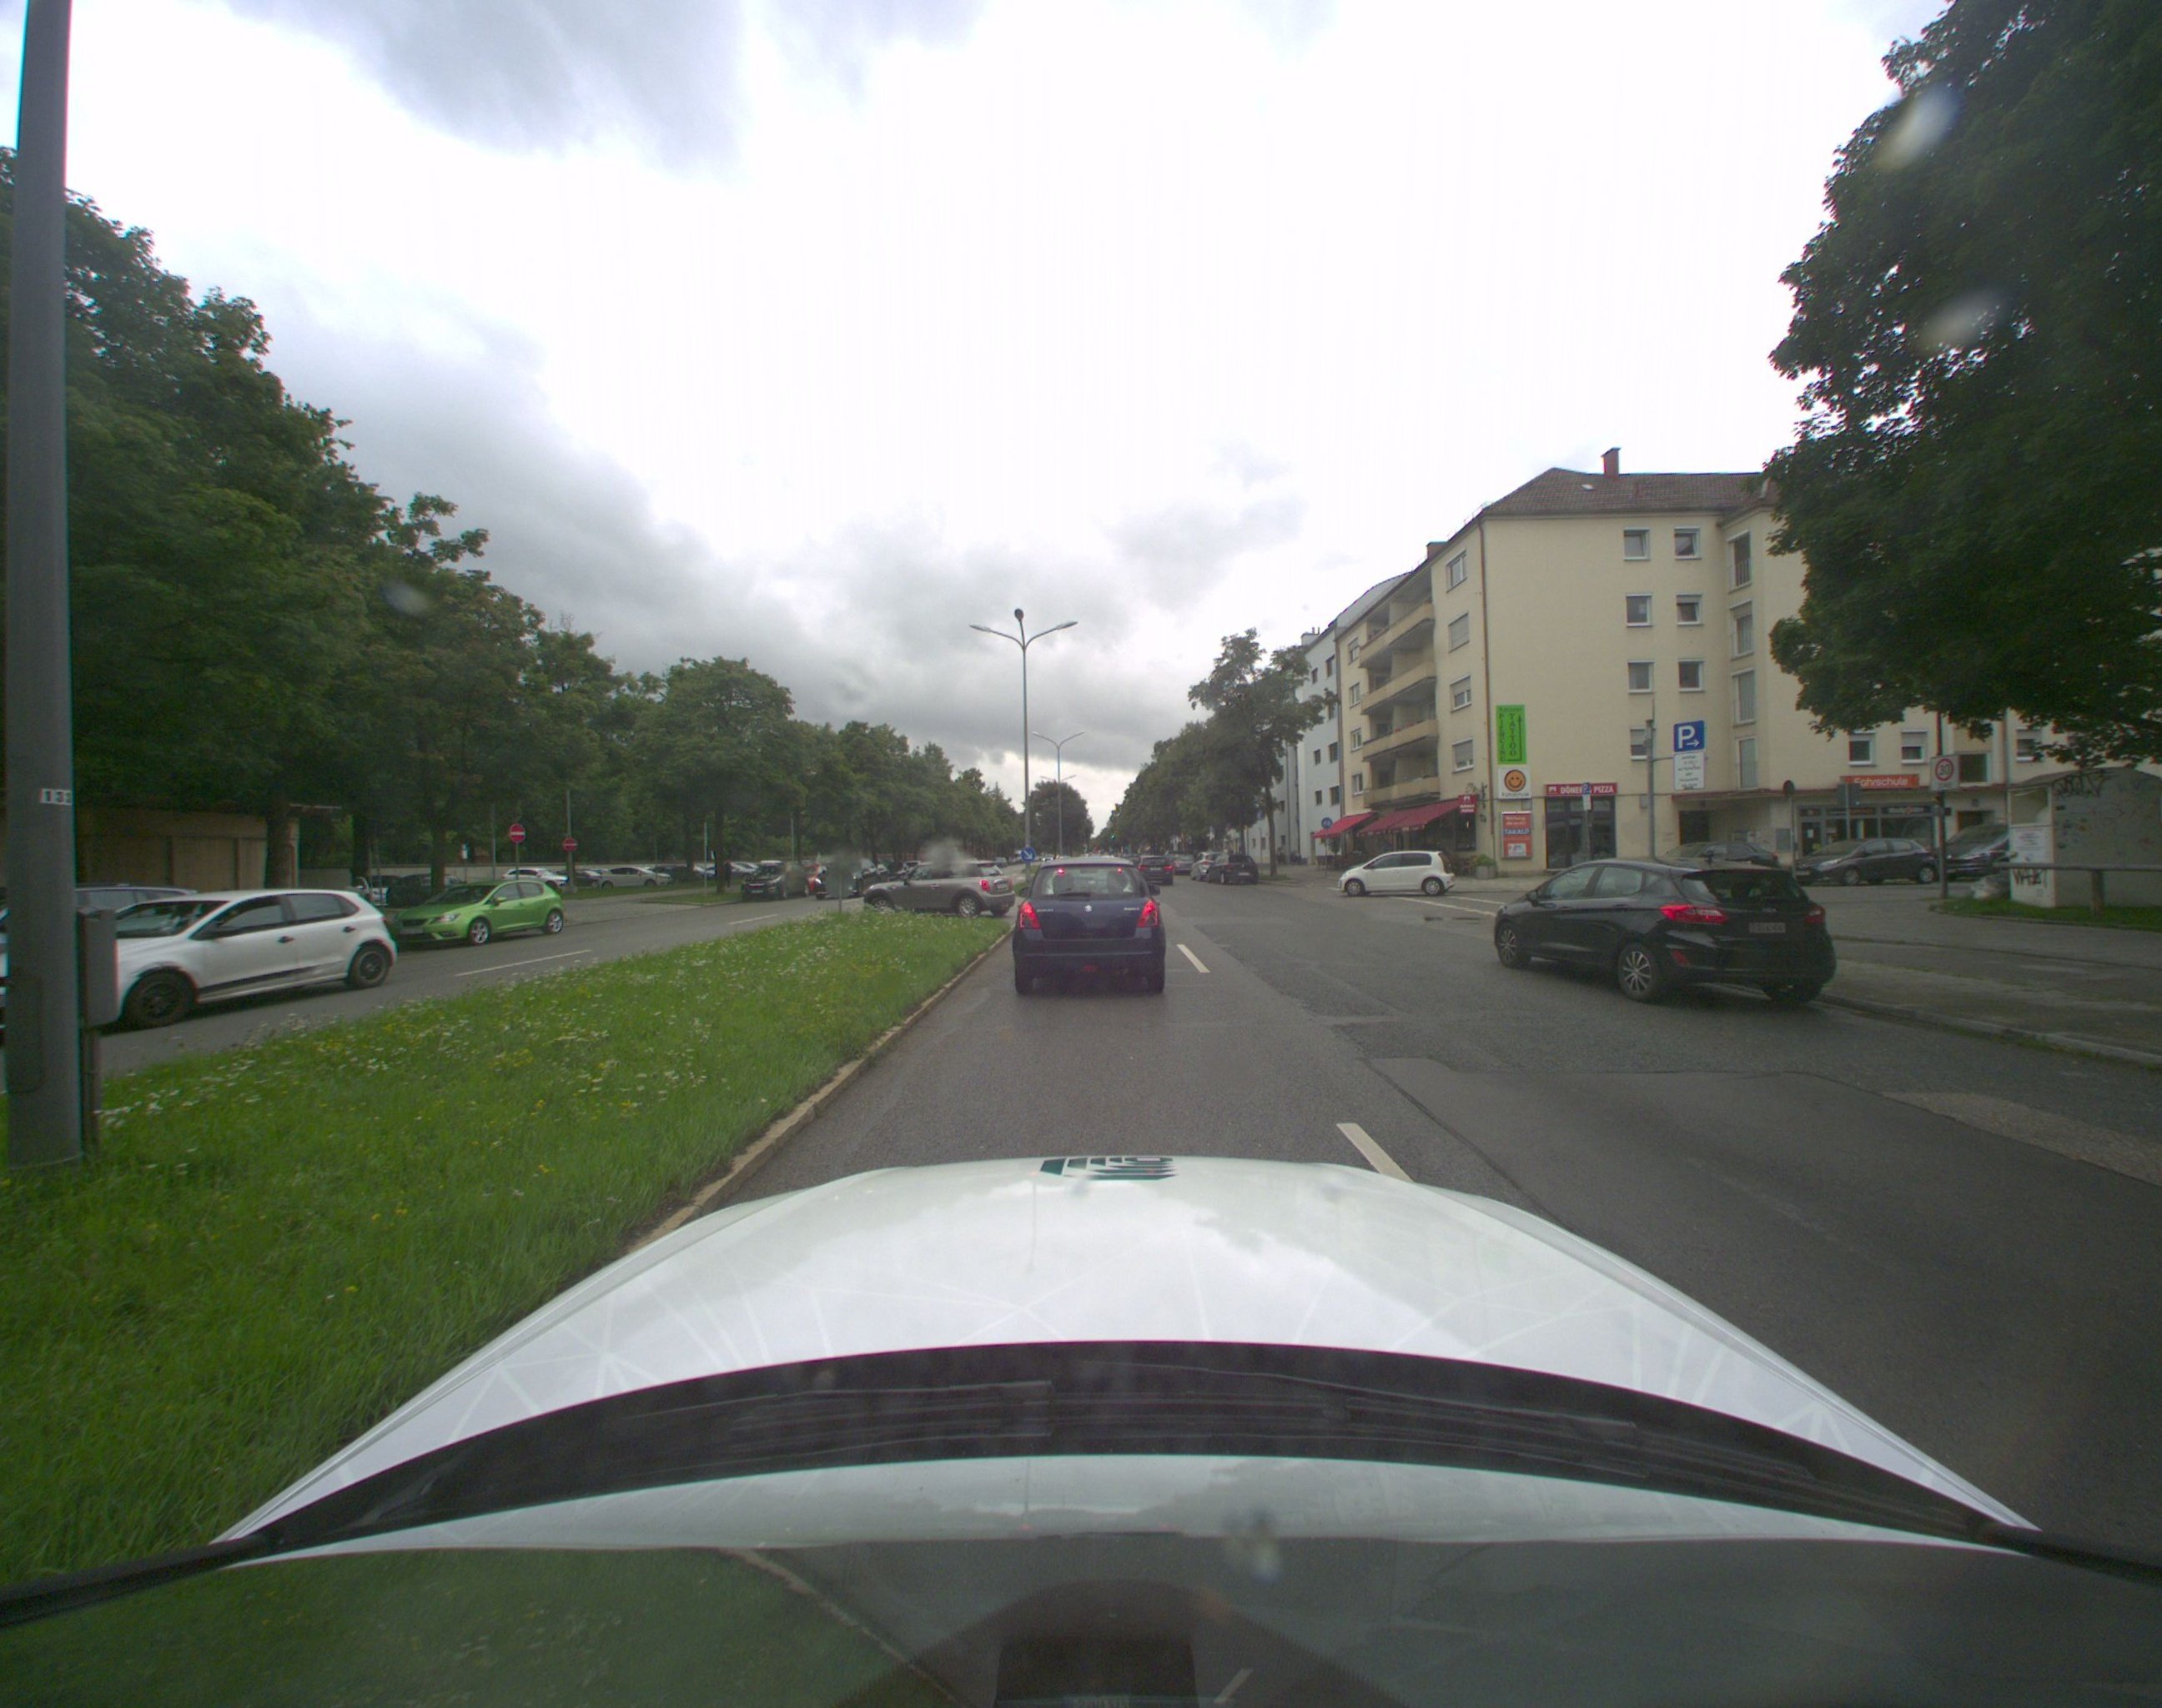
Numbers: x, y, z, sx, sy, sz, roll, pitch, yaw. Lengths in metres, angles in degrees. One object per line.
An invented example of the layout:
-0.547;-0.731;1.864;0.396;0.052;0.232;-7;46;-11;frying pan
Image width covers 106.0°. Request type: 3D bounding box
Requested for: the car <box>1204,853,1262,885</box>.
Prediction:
7.365;0.669;39.833;1.861;1.417;4.221;-2;0;-2;car

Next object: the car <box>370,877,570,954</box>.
-14.135;1.364;19.144;1.541;1.409;3.883;-3;0;4;car

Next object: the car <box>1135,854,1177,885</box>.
3.668;0.728;40.278;1.752;1.413;4.463;0;0;1;car

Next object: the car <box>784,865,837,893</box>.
-13.787;1.257;41.679;1.585;1.312;3.380;-1;0;0;car

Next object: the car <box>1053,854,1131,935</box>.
0.216;0.758;16.873;1.439;1.483;3.106;-1;0;0;car

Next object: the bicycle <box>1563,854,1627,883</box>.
17.688;0.506;28.049;1.841;0.957;0.557;-1;-1;-1;bicycle

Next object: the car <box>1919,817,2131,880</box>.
30.471;-0.180;26.389;4.721;1.773;1.871;-2;0;-1;car

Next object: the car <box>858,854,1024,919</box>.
-3.460;0.782;20.198;3.689;1.463;1.696;-1;0;22;car

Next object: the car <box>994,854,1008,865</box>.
-11.399;0.762;116.494;1.627;1.583;3.879;-1;0;0;car

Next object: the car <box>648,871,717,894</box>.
-27.208;1.951;55.650;3.859;1.445;1.670;-1;0;-5;car

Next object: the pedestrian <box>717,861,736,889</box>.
-20.004;1.168;45.980;0.725;1.534;0.721;-1;-1;1;pedestrian

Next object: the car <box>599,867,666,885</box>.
-37.452;1.829;68.109;4.674;1.445;1.673;-1;0;1;car

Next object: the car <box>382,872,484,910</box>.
-26.607;1.472;33.423;4.363;1.445;1.973;-1;-1;33;car

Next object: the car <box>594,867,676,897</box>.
-26.599;1.639;48.655;3.911;1.718;1.670;-1;0;-5;car

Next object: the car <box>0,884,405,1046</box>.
-10.549;1.168;9.746;1.613;1.375;3.838;-3;0;1;car

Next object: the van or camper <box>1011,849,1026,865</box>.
-13.417;0.638;174.724;2.552;3.296;6.937;-1;0;0;van or camper

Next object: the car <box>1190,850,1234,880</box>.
7.182;0.577;45.024;1.786;1.558;4.224;-2;0;0;car

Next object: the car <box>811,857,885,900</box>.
-10.049;0.994;35.463;1.760;1.623;4.507;-3;0;1;car

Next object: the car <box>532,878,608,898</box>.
-38.562;2.562;61.518;4.674;1.445;1.673;-1;0;1;car

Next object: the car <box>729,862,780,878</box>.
-29.320;1.425;73.250;3.859;1.445;1.670;-1;0;-5;car

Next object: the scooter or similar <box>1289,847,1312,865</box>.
16.498;0.140;61.323;1.029;1.307;2.756;-2;0;2;scooter or similar

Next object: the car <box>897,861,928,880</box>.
-13.142;1.248;63.762;1.627;1.431;3.879;-1;0;0;car

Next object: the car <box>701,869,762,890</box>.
-26.192;1.897;61.081;3.859;1.445;1.670;-1;0;-5;car

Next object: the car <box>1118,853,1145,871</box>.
4.039;0.620;65.317;1.726;1.432;4.439;0;0;-2;car

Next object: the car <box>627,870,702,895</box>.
-26.278;1.786;51.502;3.859;1.445;1.670;-1;0;-5;car

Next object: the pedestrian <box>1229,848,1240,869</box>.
15.126;0.403;80.247;0.791;2.013;1.006;-1;0;1;pedestrian

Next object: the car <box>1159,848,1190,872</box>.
7.138;0.433;62.706;1.860;1.682;4.223;-2;0;-1;car

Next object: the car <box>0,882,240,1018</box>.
-14.306;1.286;10.786;1.685;1.586;4.371;-3;0;0;car

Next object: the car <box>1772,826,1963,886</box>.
24.998;0.063;25.988;4.381;1.661;1.870;-2;0;-2;car

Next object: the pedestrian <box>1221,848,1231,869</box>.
14.300;0.411;80.096;0.791;2.013;1.006;-1;0;1;pedestrian

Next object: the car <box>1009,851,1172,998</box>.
0.105;0.734;10.472;1.676;1.502;3.918;-1;0;0;car

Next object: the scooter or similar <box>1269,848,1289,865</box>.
16.125;0.179;66.349;1.029;1.307;2.756;-2;0;2;scooter or similar

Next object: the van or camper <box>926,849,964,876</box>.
-12.931;0.803;77.949;2.109;2.482;7.452;-1;0;2;van or camper

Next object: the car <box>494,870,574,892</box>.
-38.472;1.905;57.323;4.489;1.476;1.673;-1;-1;1;car

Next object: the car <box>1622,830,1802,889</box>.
20.090;0.168;26.034;4.384;1.661;1.869;-2;0;-4;car

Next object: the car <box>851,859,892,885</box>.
-13.335;1.112;52.050;1.585;1.558;3.879;-1;0;0;car

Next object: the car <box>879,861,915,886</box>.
-13.157;1.367;58.425;1.627;1.741;3.879;-1;0;0;car

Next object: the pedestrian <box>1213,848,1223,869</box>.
13.461;0.420;80.102;0.791;2.013;1.006;-1;0;1;pedestrian

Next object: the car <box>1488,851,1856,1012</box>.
6.348;0.717;9.323;1.611;1.465;3.675;0;0;1;car

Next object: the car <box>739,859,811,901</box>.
-13.634;1.130;36.469;1.711;1.741;3.879;-1;0;0;car

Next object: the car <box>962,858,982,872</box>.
-12.489;1.283;93.472;1.627;1.583;3.879;-1;0;0;car

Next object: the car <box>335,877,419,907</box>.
-31.497;1.670;36.396;4.363;1.201;1.683;-1;-1;33;car

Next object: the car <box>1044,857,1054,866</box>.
-5.572;1.275;142.538;1.627;1.552;3.879;-1;0;0;car

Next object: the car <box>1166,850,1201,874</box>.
7.228;0.540;57.878;1.860;1.517;4.223;-2;0;-1;car

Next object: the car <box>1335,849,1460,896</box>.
10.383;0.612;26.717;3.514;1.417;1.883;-2;0;30;car
